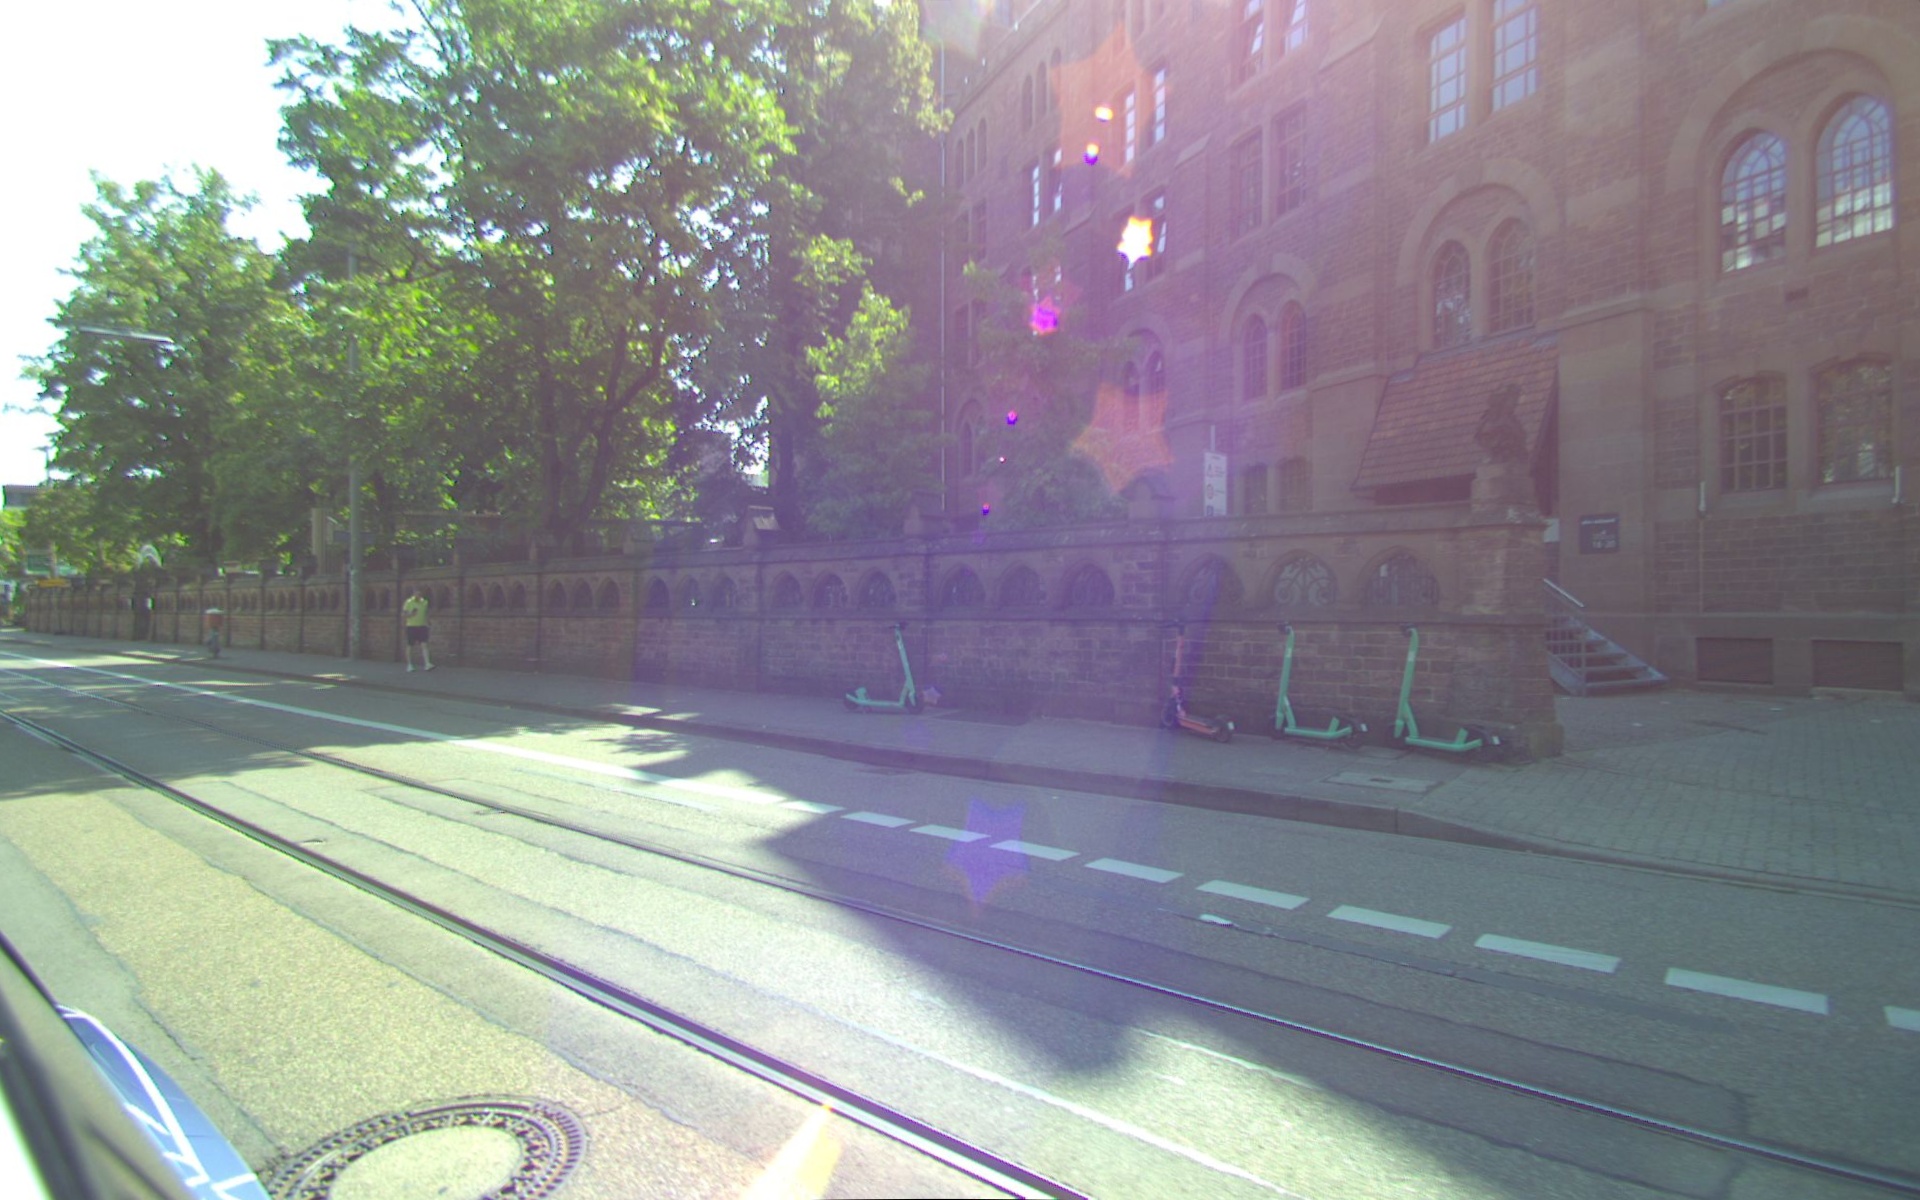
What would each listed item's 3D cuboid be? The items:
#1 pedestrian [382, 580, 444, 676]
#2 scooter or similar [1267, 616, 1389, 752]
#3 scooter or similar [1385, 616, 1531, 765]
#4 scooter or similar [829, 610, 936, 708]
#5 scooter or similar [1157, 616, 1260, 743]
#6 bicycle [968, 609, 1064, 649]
[{"bbox_3d":[-11.806,0.591,21.863,0.982,2.029,0.856,-1,0,38],"label":"pedestrian"},{"bbox_3d":[3.440,0.755,9.543,0.334,1.187,1.182,0,0,-25],"label":"scooter or similar"},{"bbox_3d":[4.292,0.742,8.795,0.334,1.187,1.182,0,0,-25],"label":"scooter or similar"},{"bbox_3d":[-0.986,0.725,12.778,1.309,1.187,0.418,-1,0,25],"label":"scooter or similar"},{"bbox_3d":[2.493,0.768,10.237,0.334,1.187,1.182,0,0,-25],"label":"scooter or similar"},{"bbox_3d":[1.637,0.819,29.539,2.642,1.105,0.904,-1,0,-20],"label":"bicycle"}]
